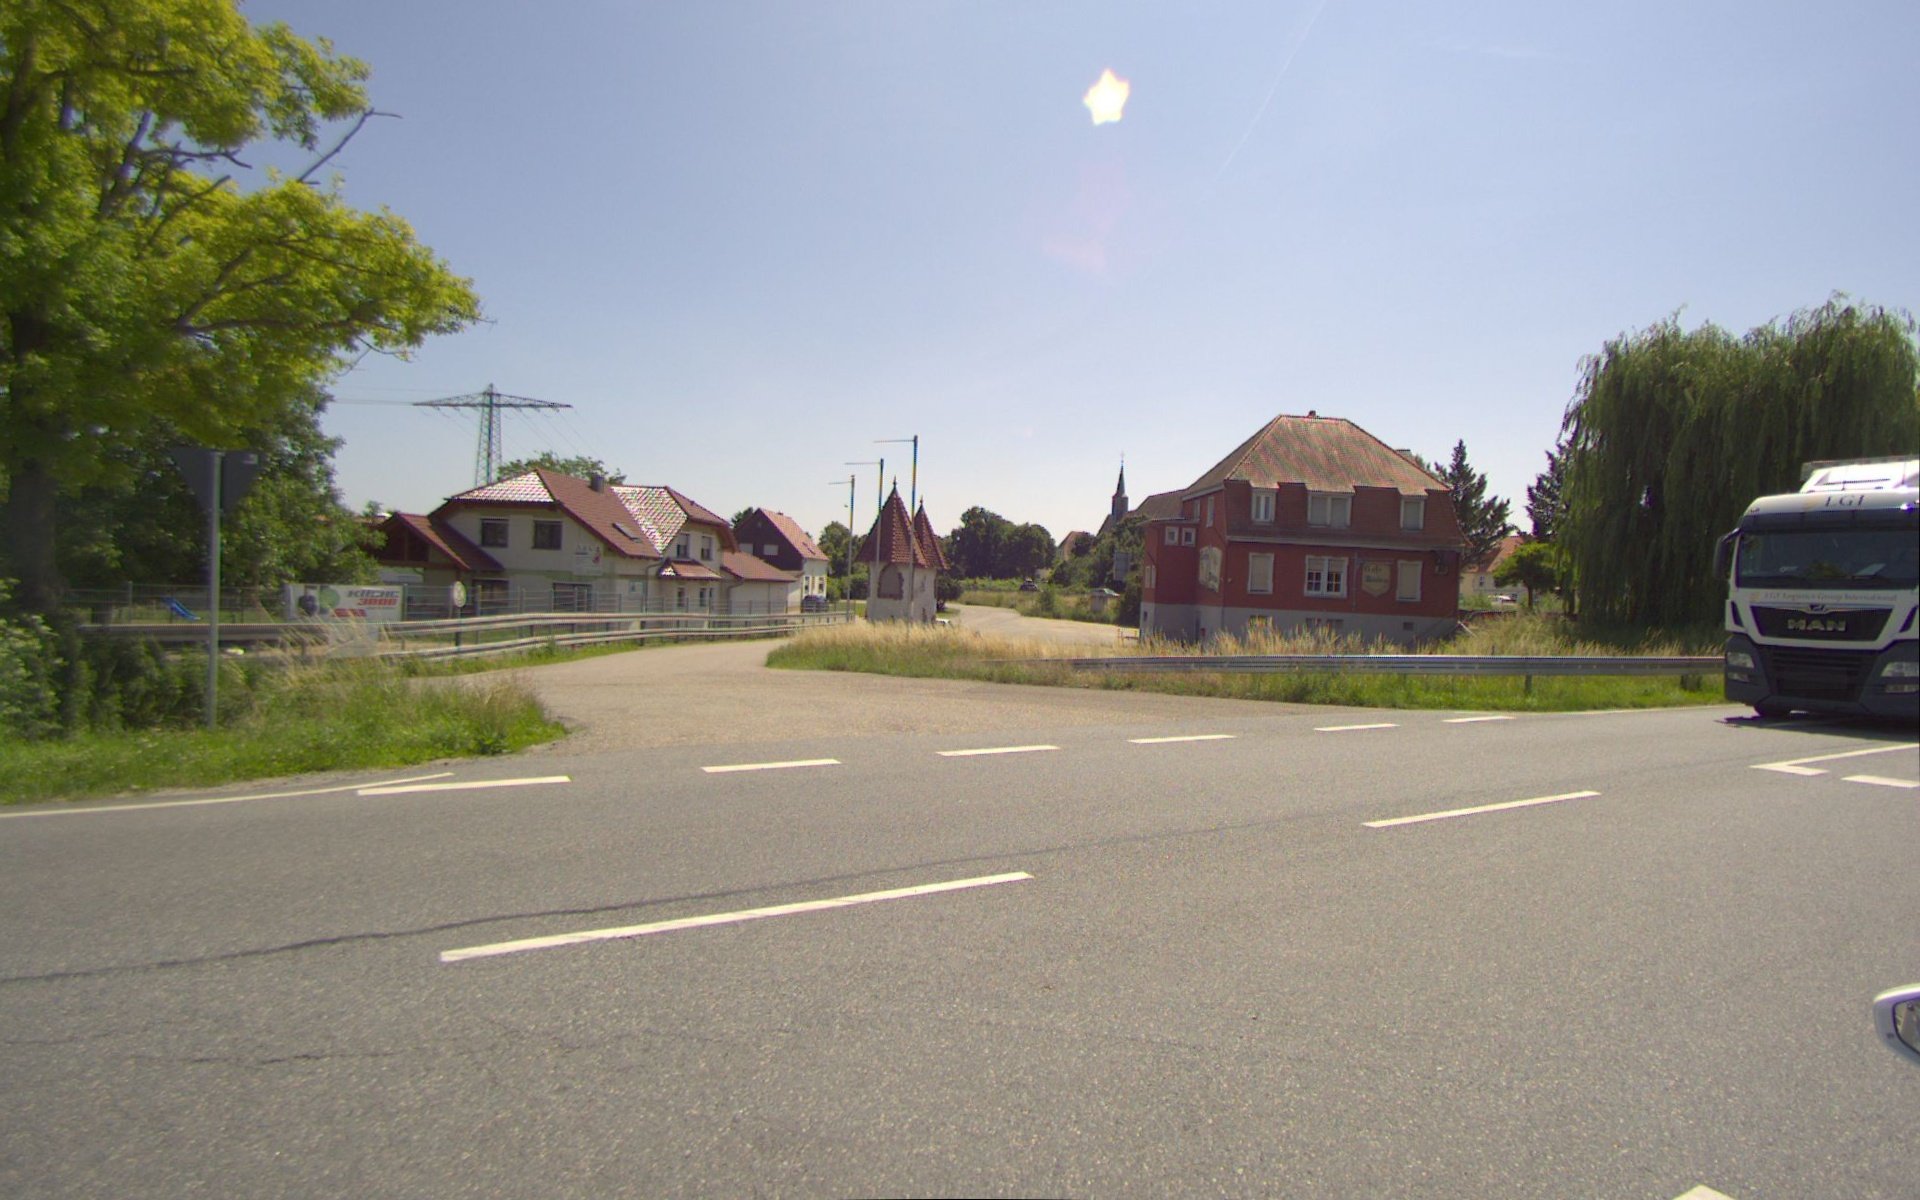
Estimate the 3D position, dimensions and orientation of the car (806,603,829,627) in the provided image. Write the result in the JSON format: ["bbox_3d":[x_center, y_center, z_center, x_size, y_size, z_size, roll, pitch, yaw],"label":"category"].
[{"bbox_3d":[-12.011,1.249,84.552,1.602,1.840,3.509,0,1,-3],"label":"car"}]

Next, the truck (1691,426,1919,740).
[{"bbox_3d":[14.864,-0.244,15.926,6.678,4.111,2.774,1,3,-32],"label":"truck"}]

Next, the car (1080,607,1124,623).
[{"bbox_3d":[13.085,1.382,92.545,3.919,1.461,1.590,1,0,12],"label":"car"}]

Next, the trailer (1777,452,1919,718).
[{"bbox_3d":[20.311,-0.150,19.301,13.351,4.111,2.774,1,3,-32],"label":"trailer"}]

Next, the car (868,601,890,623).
[{"bbox_3d":[-6.731,0.958,83.700,1.769,1.750,3.865,0,1,-3],"label":"car"}]

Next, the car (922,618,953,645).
[{"bbox_3d":[-1.413,1.904,61.501,1.818,1.543,3.736,1,-1,-2],"label":"car"}]
